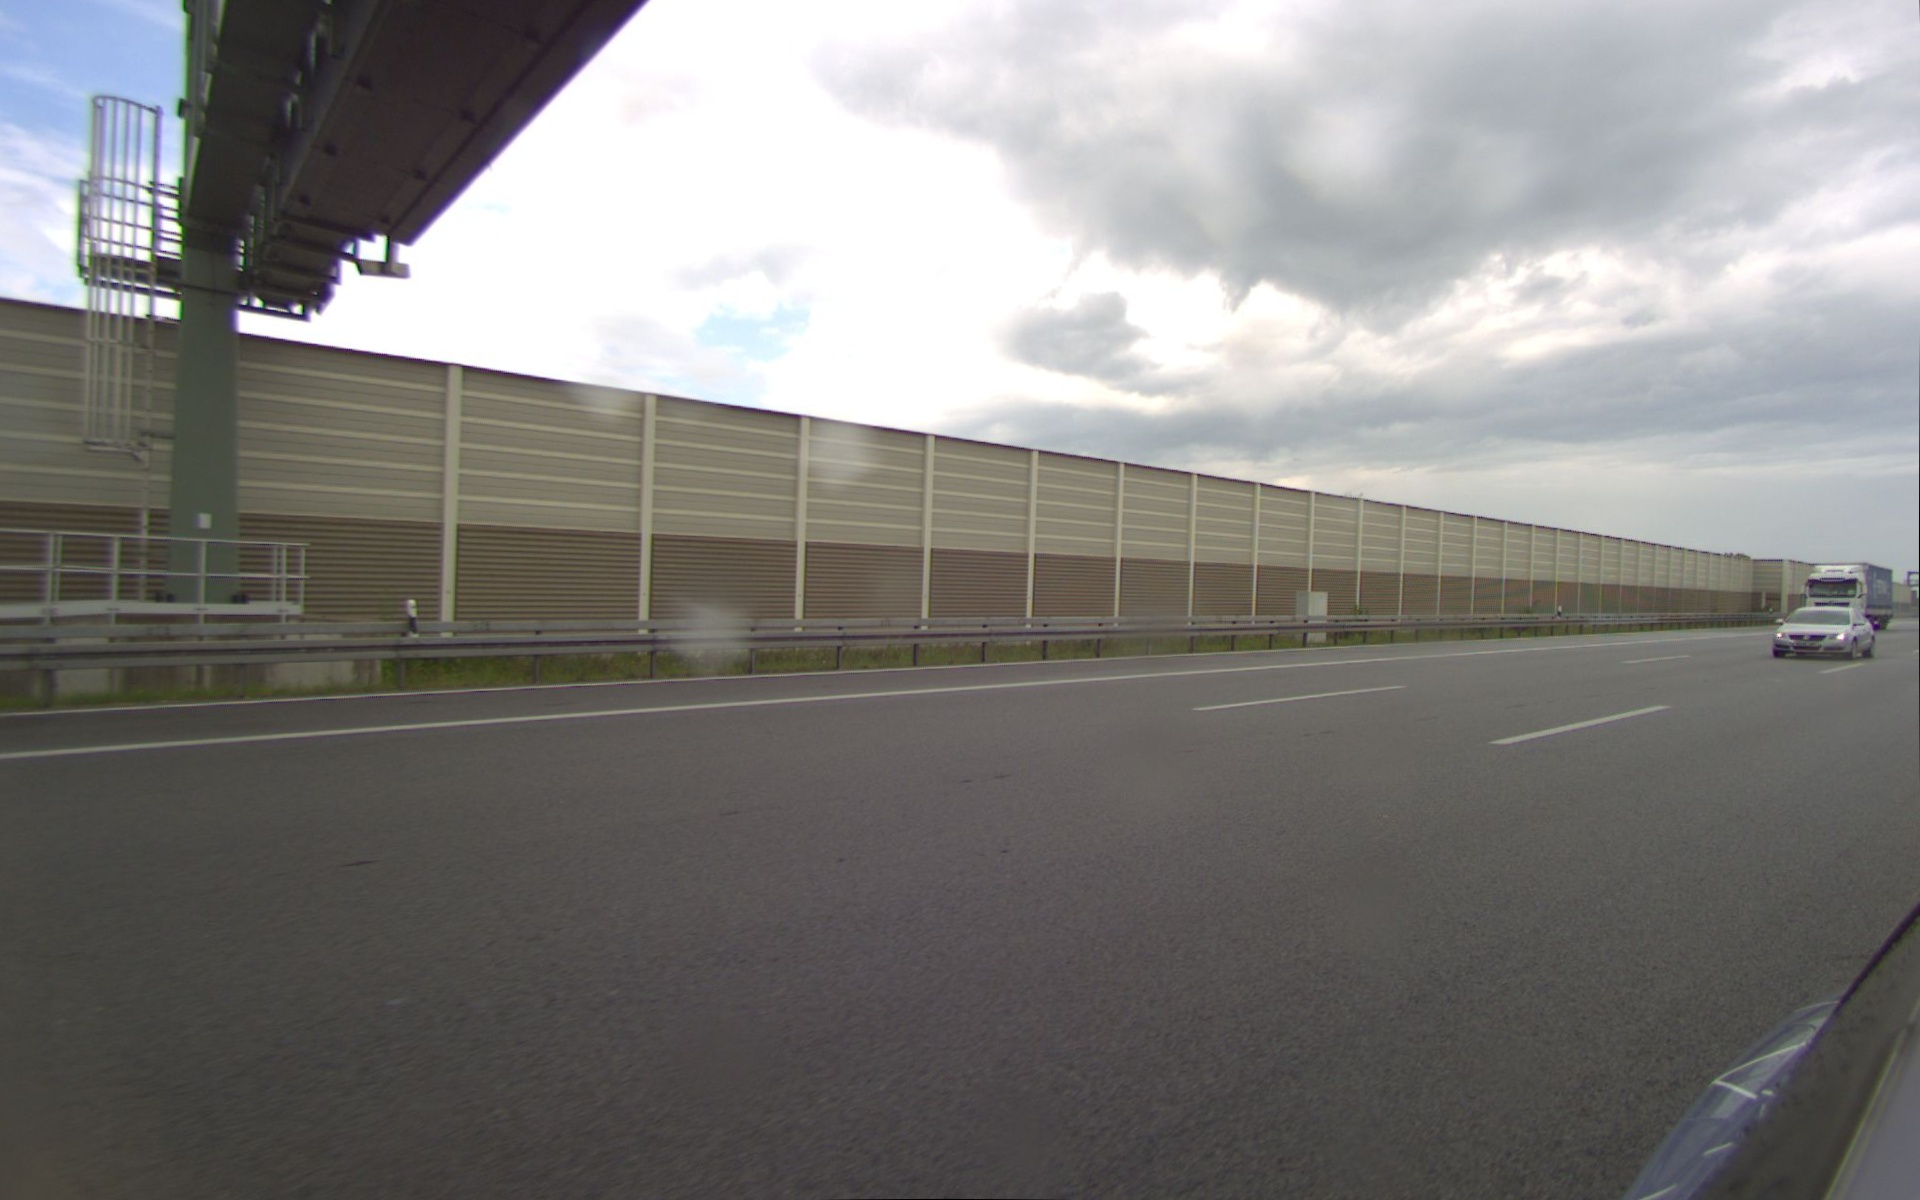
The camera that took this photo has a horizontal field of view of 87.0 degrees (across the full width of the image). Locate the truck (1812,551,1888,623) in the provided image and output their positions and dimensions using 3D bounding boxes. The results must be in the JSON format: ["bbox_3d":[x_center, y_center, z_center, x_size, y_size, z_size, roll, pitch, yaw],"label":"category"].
[{"bbox_3d":[53.414,-0.715,60.686,5.627,4.086,2.749,1,0,-42],"label":"truck"}]

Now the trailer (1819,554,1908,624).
[{"bbox_3d":[58.504,-0.566,65.351,14.204,4.083,2.765,1,0,-42],"label":"trailer"}]

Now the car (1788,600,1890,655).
[{"bbox_3d":[24.999,0.762,28.746,3.931,1.421,1.730,1,0,-42],"label":"car"}]
